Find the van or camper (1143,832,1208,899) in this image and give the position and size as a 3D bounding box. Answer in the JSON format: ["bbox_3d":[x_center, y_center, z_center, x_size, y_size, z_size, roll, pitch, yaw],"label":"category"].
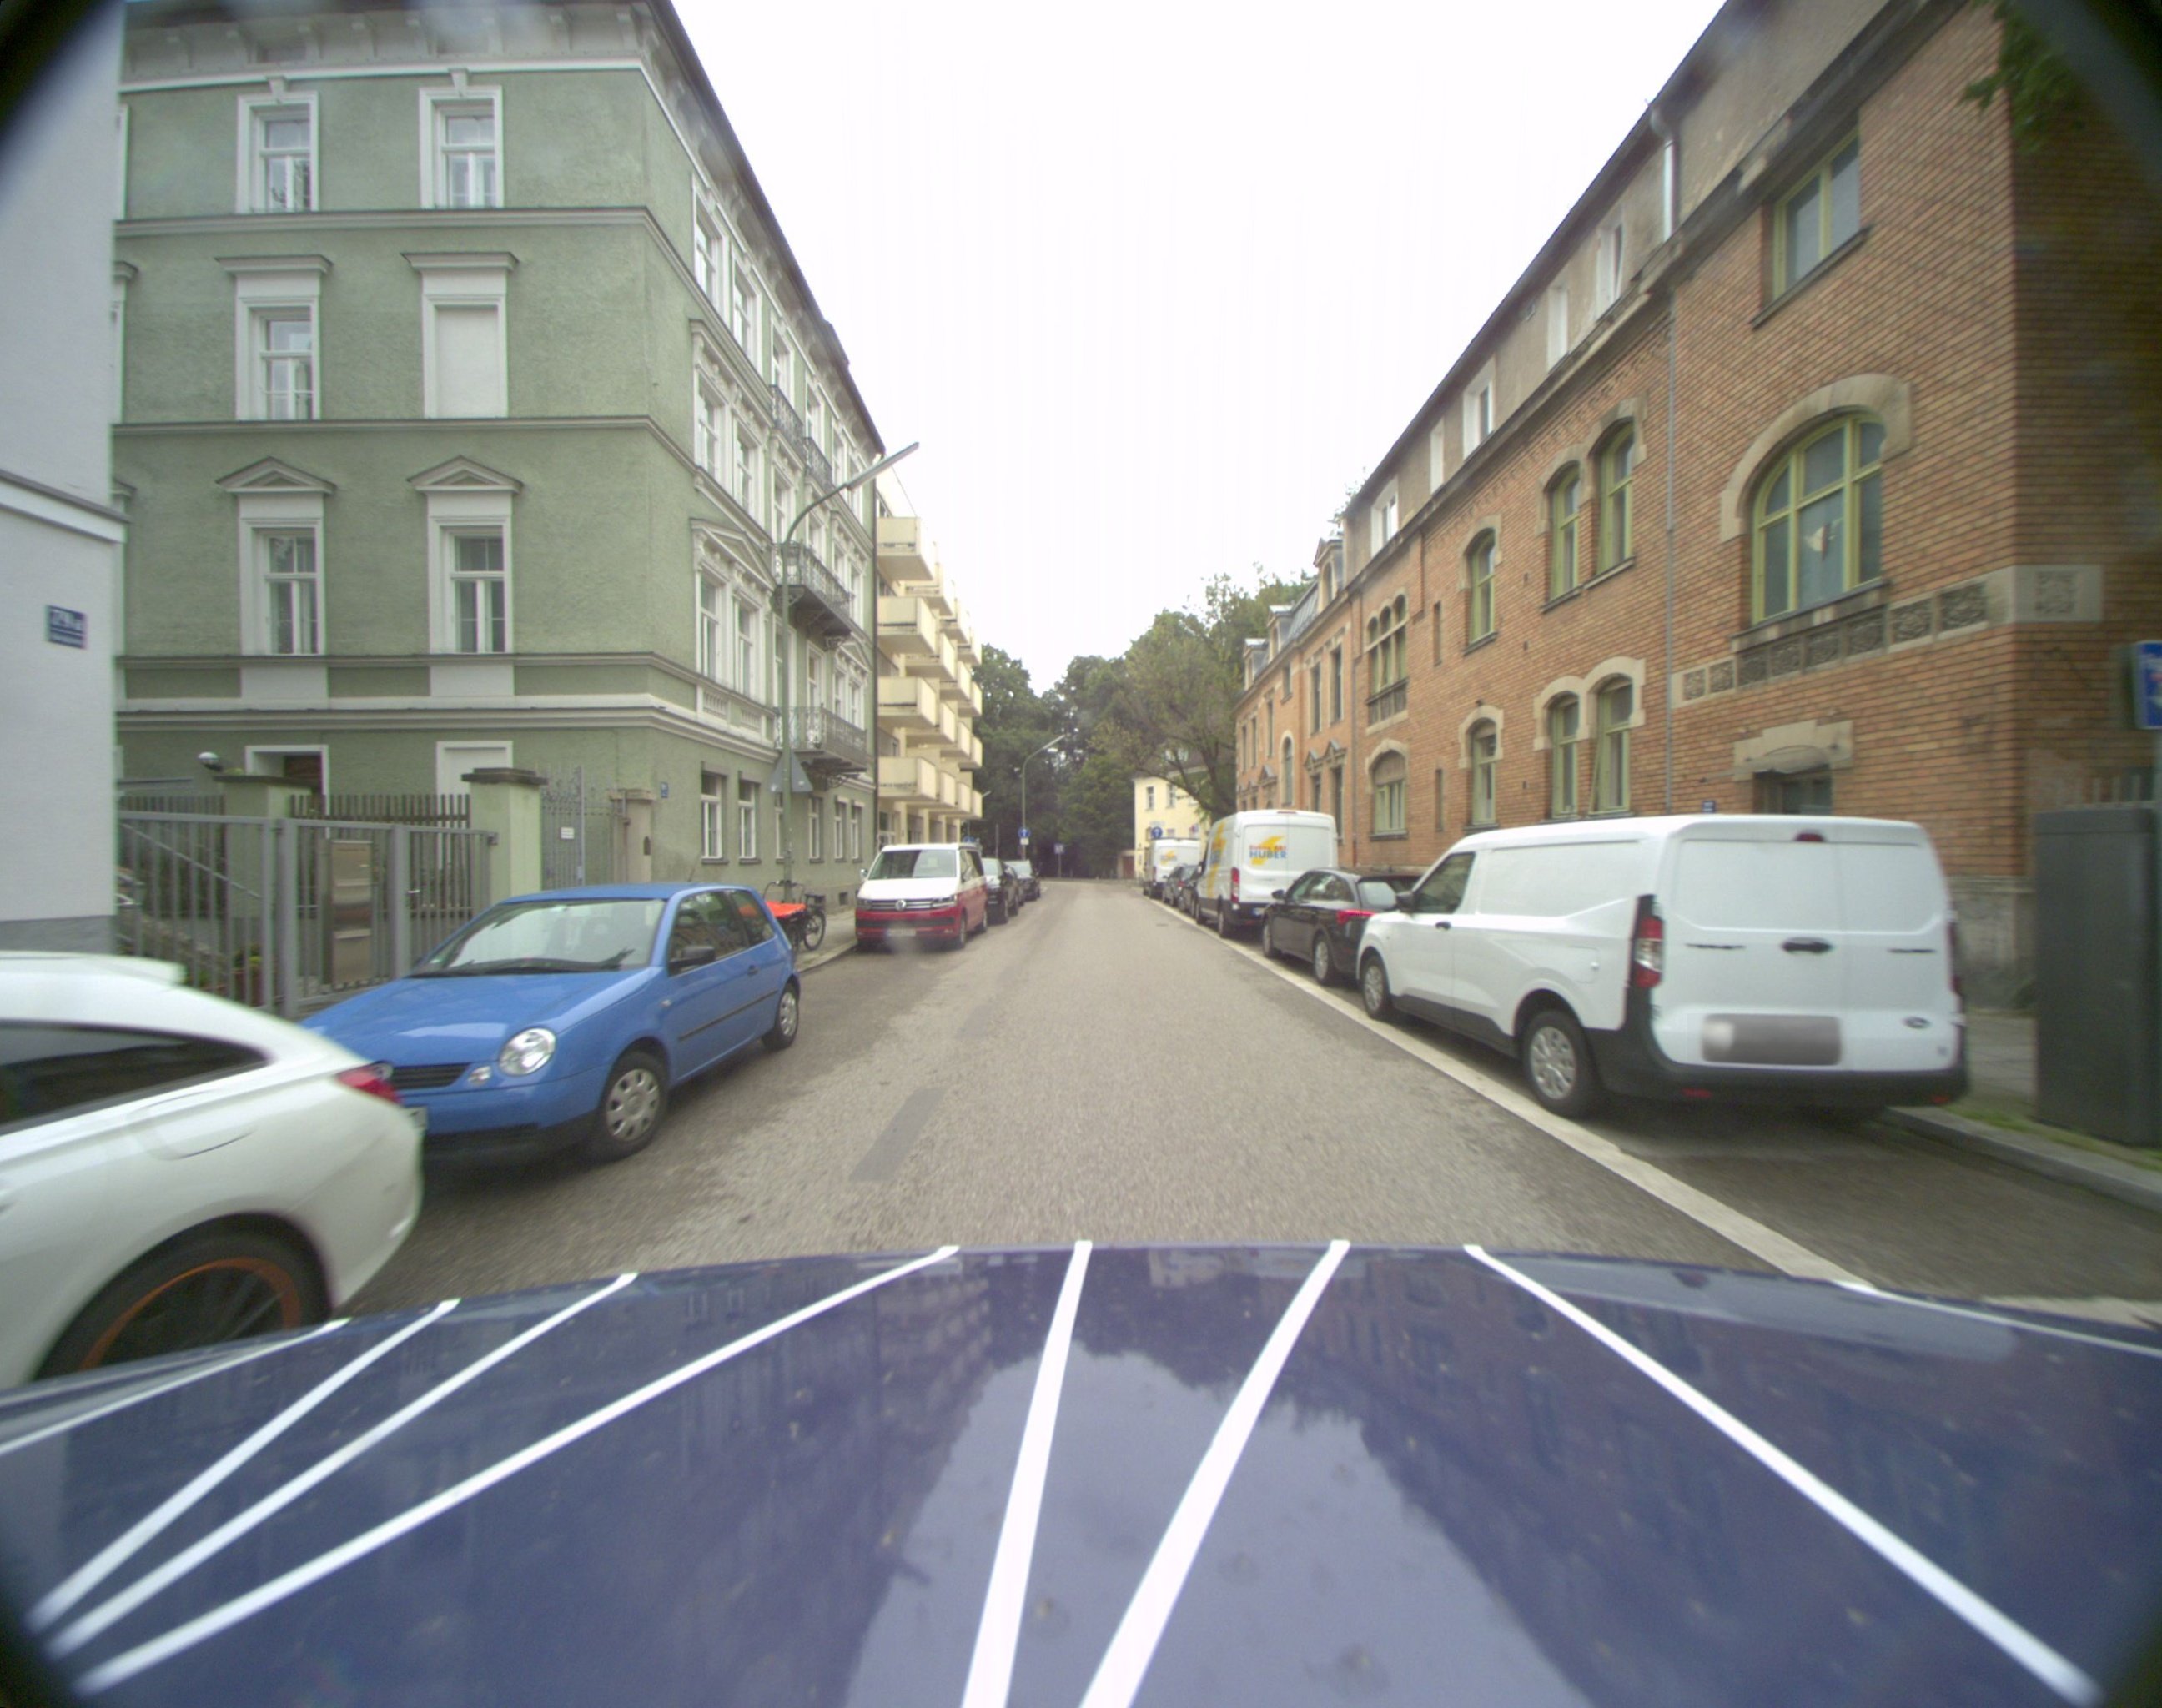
[{"bbox_3d":[3.945,0.483,32.555,2.116,2.646,4.958,1,0,0],"label":"van or camper"}]

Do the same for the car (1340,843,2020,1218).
[{"bbox_3d":[3.540,0.851,5.692,1.719,1.745,4.250,1,0,0],"label":"car"}]

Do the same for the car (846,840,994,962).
[{"bbox_3d":[-2.994,0.814,15.192,1.858,2.019,4.783,-1,0,0],"label":"car"}]

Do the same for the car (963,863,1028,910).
[{"bbox_3d":[-2.863,1.048,26.256,1.753,1.458,4.336,1,0,0],"label":"car"}]

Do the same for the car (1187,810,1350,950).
[{"bbox_3d":[3.709,0.491,16.139,2.117,2.461,5.231,1,0,0],"label":"car"}]

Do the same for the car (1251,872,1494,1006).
[{"bbox_3d":[3.673,0.984,10.437,1.719,1.412,4.166,1,0,0],"label":"car"}]

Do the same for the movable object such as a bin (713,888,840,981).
[{"bbox_3d":[-4.612,1.183,11.737,1.023,1.186,2.163,2,0,1],"label":"movable object such as a bin"}]

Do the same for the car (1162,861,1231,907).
[{"bbox_3d":[3.943,0.990,26.548,1.769,1.491,4.080,1,0,0],"label":"car"}]

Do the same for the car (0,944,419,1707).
[{"bbox_3d":[-2.979,1.044,0.270,1.668,1.458,4.376,-2,0,-1],"label":"car"}]

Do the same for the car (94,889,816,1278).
[{"bbox_3d":[-3.251,1.039,5.033,1.719,1.414,3.719,-2,0,-2],"label":"car"}]

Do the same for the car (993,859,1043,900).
[{"bbox_3d":[-2.594,1.035,32.181,1.771,1.607,4.263,-1,0,0],"label":"car"}]

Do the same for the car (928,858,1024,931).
[{"bbox_3d":[-2.723,0.997,20.799,1.860,1.700,4.698,-1,0,1],"label":"car"}]

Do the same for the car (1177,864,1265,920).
[{"bbox_3d":[3.850,1.009,21.483,1.769,1.407,3.793,1,0,0],"label":"car"}]
